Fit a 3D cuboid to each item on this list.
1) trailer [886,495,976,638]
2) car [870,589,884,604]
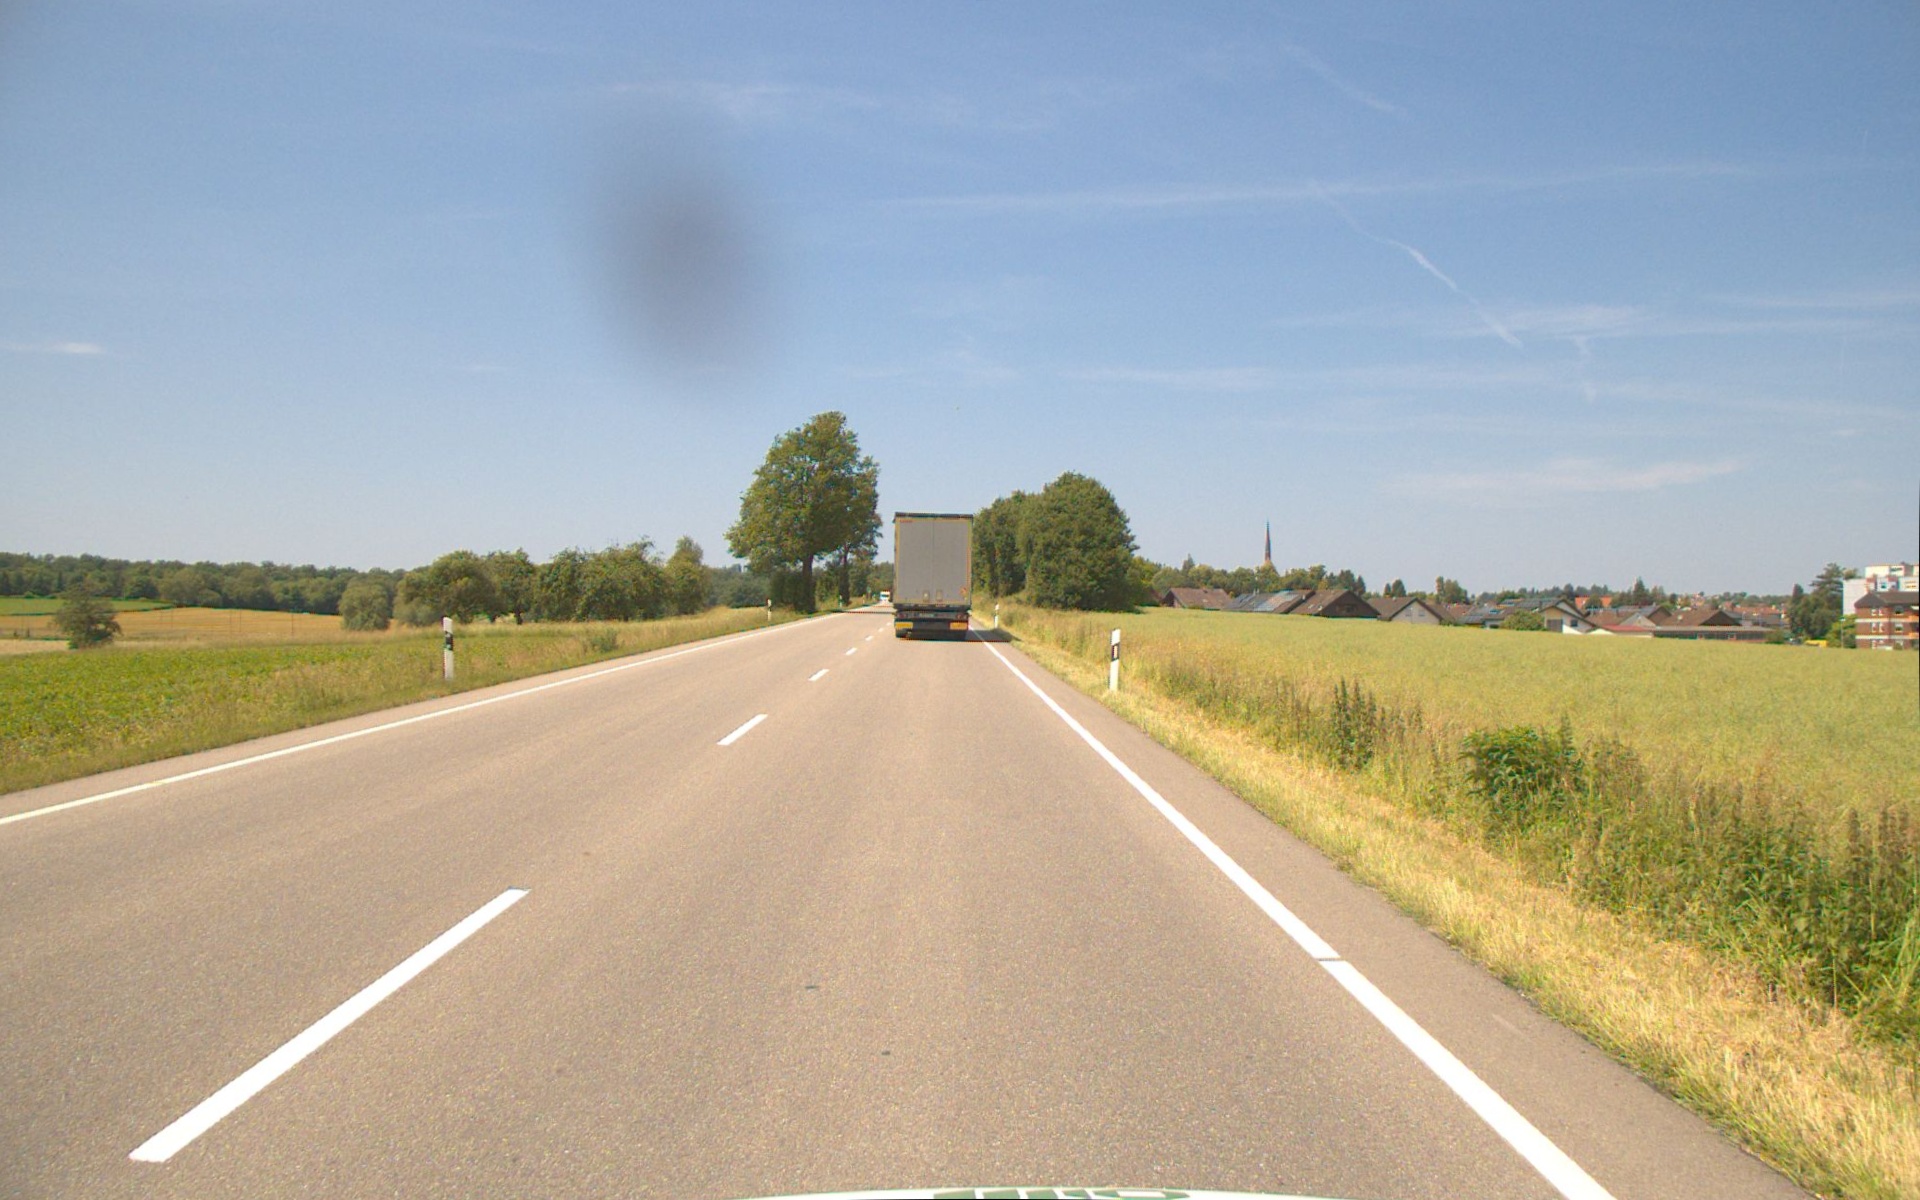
[{"bbox_3d":[-1.107,-1.087,59.096,2.809,4.477,13.488,1,0,-2],"label":"trailer"},{"bbox_3d":[-11.244,-0.513,224.988,1.836,2.049,4.072,0,0,-3],"label":"car"}]
